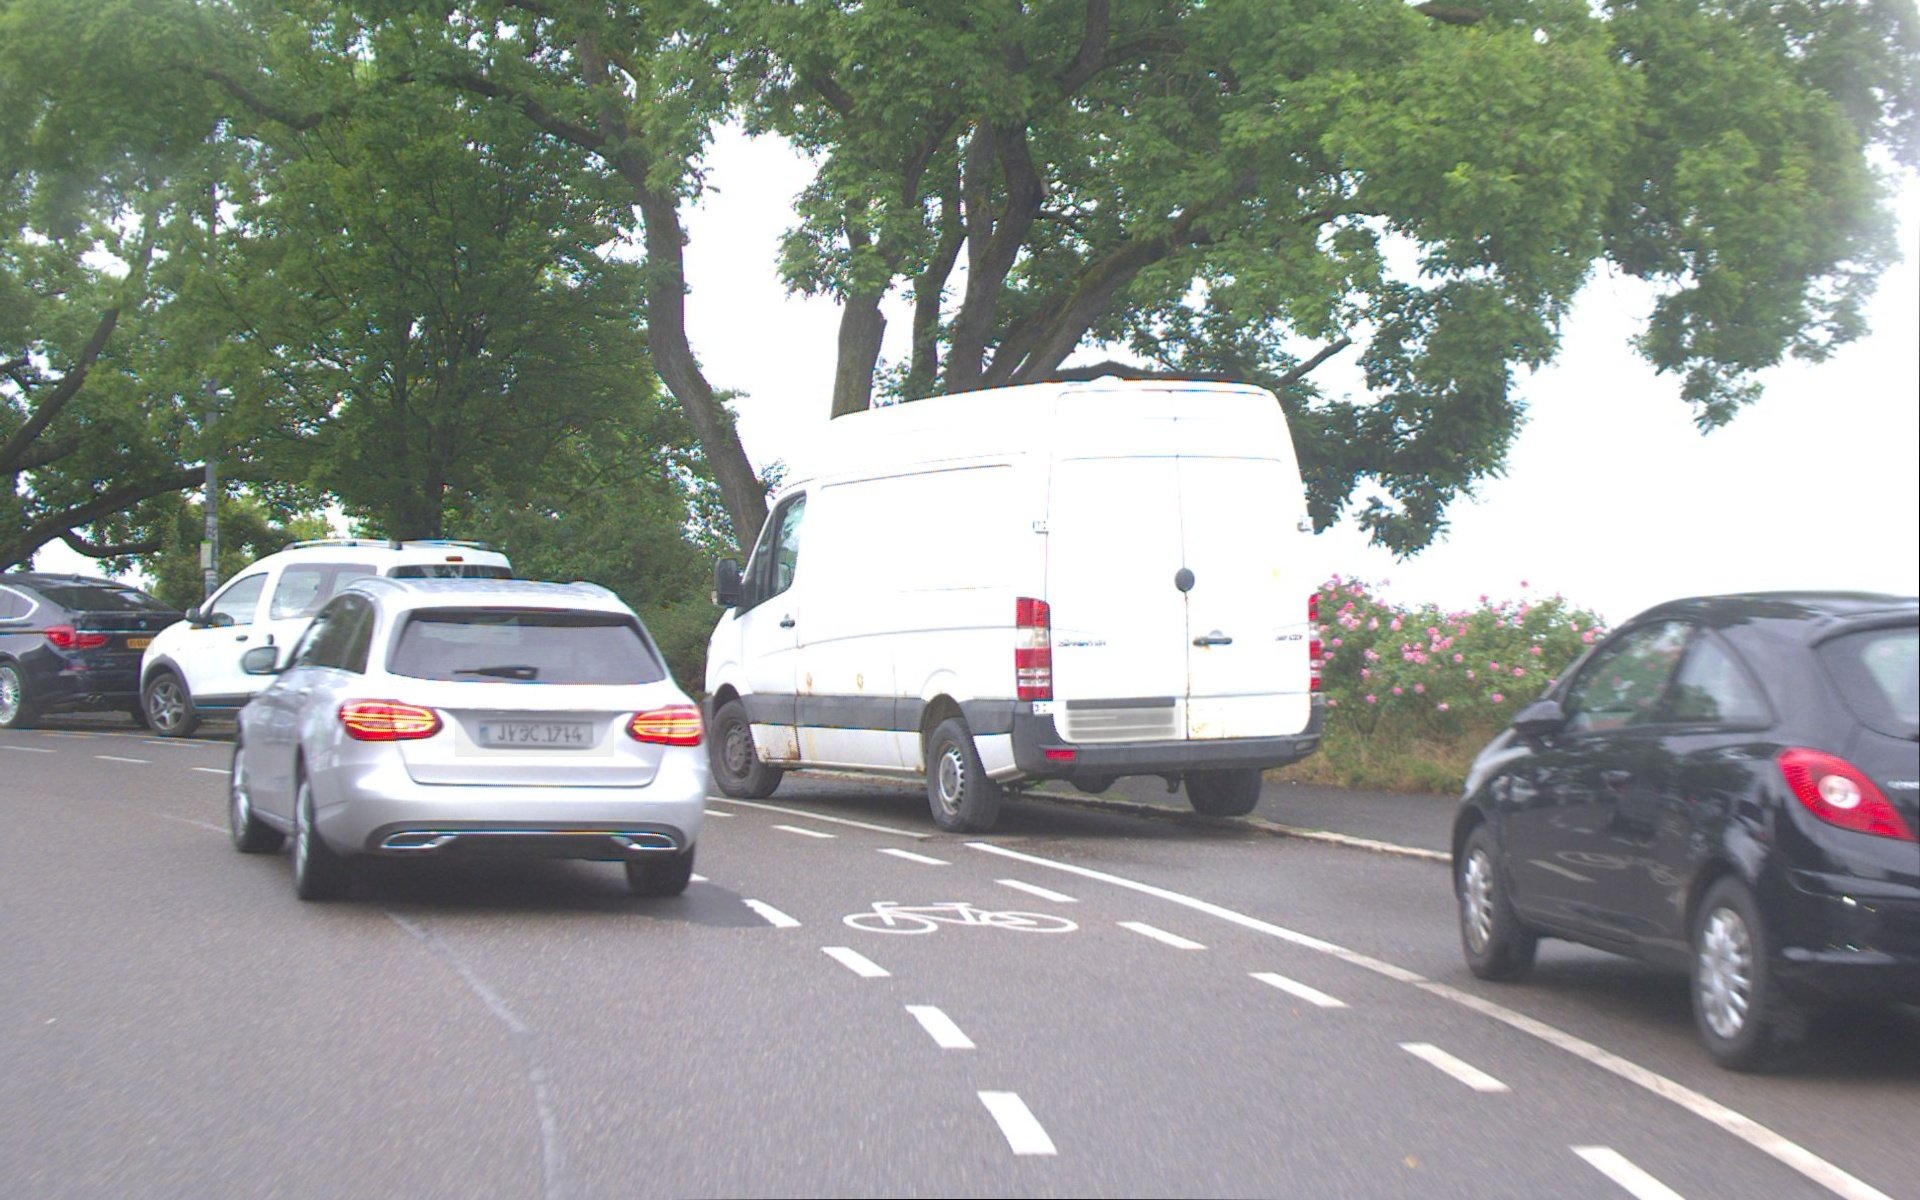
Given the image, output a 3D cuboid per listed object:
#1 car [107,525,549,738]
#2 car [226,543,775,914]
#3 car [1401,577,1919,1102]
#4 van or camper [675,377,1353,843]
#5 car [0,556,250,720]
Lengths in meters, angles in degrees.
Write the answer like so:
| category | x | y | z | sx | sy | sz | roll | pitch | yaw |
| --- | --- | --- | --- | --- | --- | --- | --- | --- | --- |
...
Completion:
| category | x | y | z | sx | sy | sz | roll | pitch | yaw |
| --- | --- | --- | --- | --- | --- | --- | --- | --- | --- |
| car | -5.853 | 0.242 | 31.512 | 4.420 | 1.815 | 1.748 | 1 | 1 | 44 |
| car | -2.373 | 0.556 | 16.689 | 1.982 | 1.548 | 4.299 | 1 | 0 | -17 |
| car | 2.893 | 0.697 | 11.843 | 1.695 | 1.439 | 3.948 | 2 | 1 | -8 |
| van or camper | 0.125 | -0.004 | 22.104 | 2.066 | 2.572 | 5.889 | -1 | 1 | -24 |
| car | -9.428 | 0.333 | 35.058 | 4.891 | 1.537 | 1.861 | 1 | 1 | 44 |
